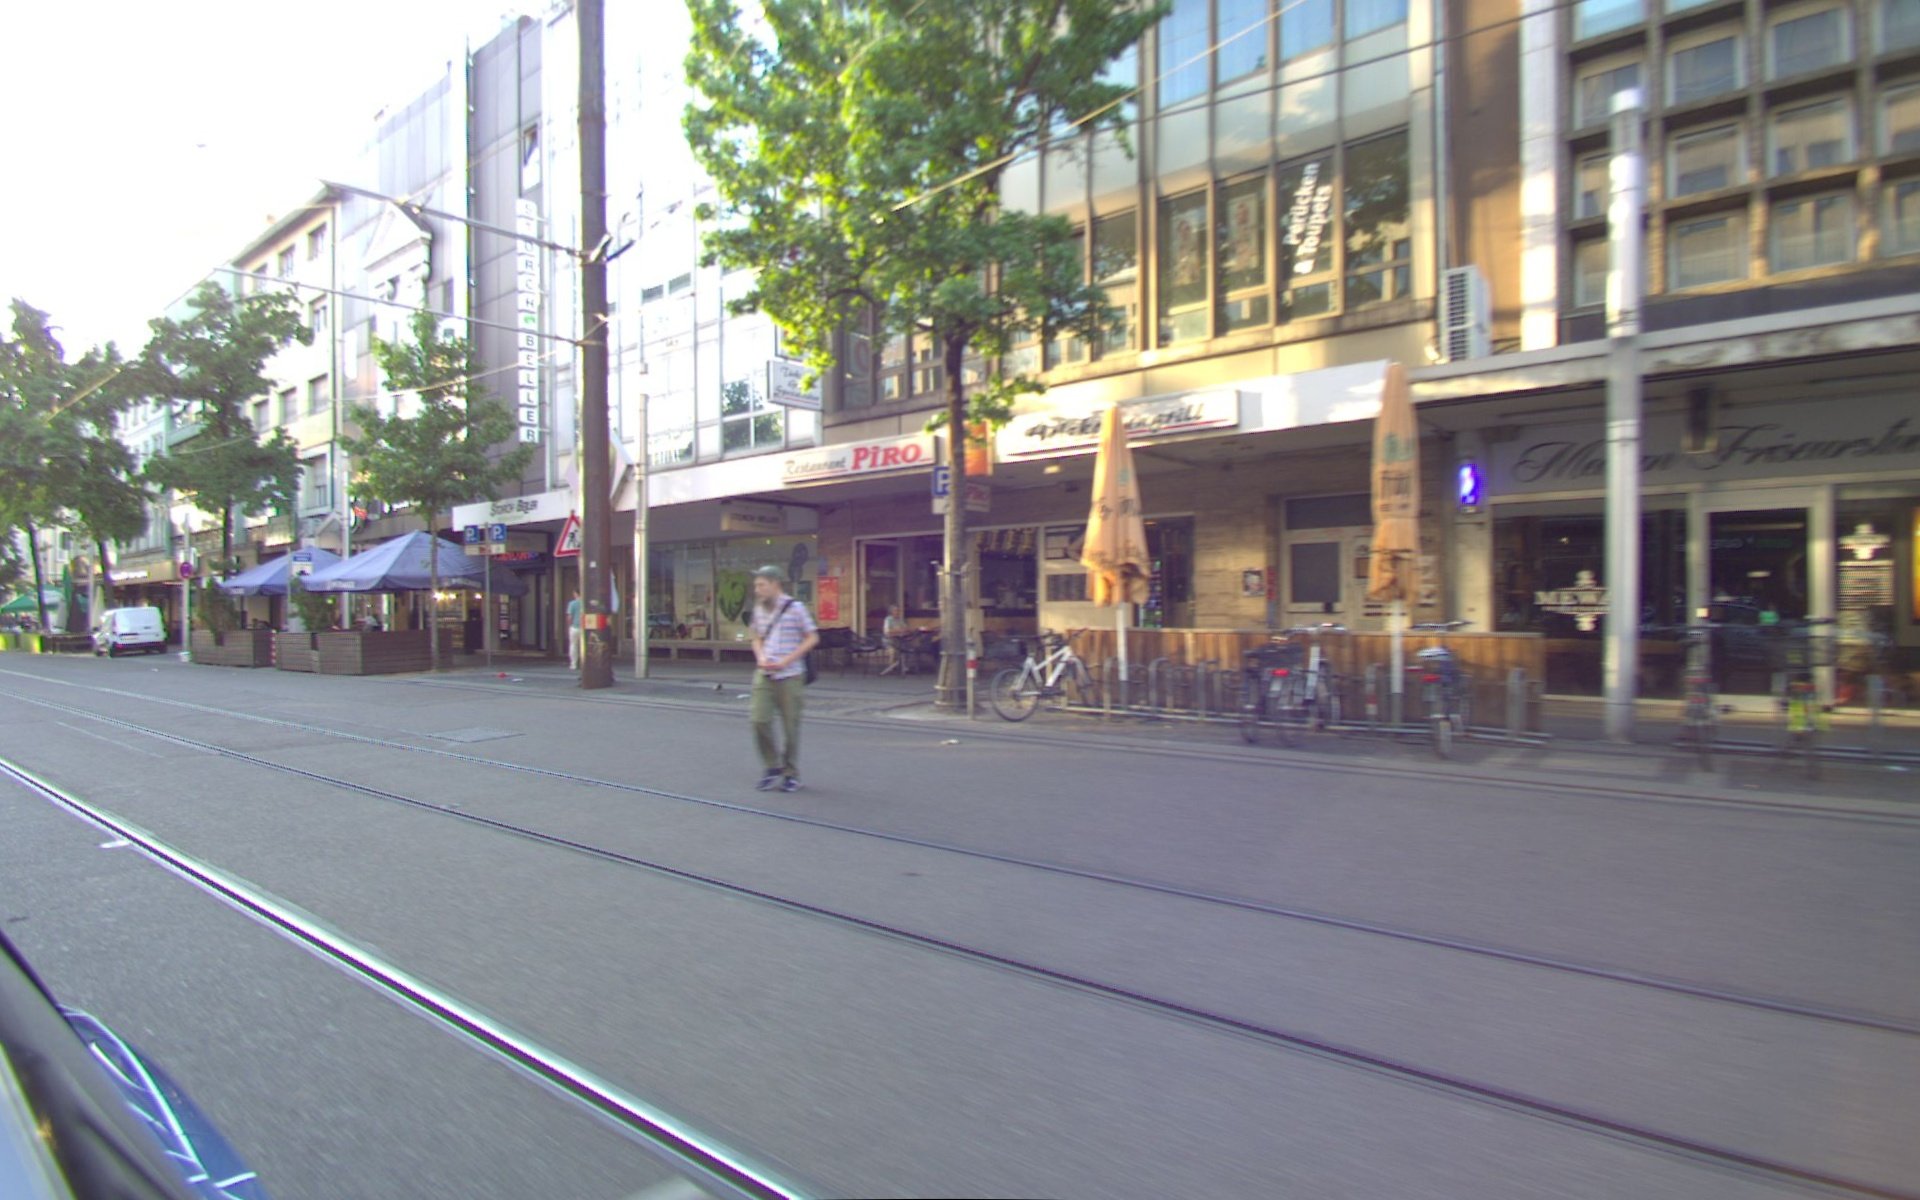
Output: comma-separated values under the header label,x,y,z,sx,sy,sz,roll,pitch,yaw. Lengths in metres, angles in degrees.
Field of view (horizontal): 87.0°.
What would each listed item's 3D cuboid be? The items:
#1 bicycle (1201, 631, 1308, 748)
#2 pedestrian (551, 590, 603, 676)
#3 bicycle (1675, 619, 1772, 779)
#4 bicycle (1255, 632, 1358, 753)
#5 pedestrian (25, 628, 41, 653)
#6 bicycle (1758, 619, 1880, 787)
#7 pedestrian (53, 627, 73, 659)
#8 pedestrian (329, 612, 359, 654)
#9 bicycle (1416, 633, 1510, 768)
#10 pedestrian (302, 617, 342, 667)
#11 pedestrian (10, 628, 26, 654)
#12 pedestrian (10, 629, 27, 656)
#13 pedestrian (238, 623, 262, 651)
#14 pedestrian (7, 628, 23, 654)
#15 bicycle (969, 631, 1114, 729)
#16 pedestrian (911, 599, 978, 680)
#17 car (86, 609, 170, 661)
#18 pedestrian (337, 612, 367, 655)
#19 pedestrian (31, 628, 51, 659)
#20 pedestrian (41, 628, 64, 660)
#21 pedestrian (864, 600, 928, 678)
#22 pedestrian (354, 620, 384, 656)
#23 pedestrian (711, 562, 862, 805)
label,x,y,z,sx,sy,sz,roll,pitch,yaw
bicycle,3.007,0.864,10.229,0.488,0.997,1.757,-3,0,34
pedestrian,-8.385,0.701,22.146,0.676,1.806,0.991,-3,2,-44
bicycle,6.122,0.735,8.166,0.488,1.079,1.757,-2,0,34
bicycle,3.417,0.857,9.897,0.488,0.997,1.757,-3,0,34
pedestrian,-50.924,2.221,55.583,0.640,1.396,0.651,0,-2,-43
bicycle,6.577,0.728,7.810,0.488,1.079,1.757,-2,0,34
pedestrian,-43.200,2.063,48.755,0.639,1.471,0.652,0,-1,-33
pedestrian,-22.046,1.175,36.215,0.642,1.444,0.654,0,4,40
bicycle,4.494,0.840,8.985,0.488,0.997,1.757,-3,0,34
pedestrian,-18.909,1.234,29.991,0.746,1.411,0.757,-1,2,39
pedestrian,-51.318,2.227,55.149,0.640,1.396,0.651,0,-2,-43
pedestrian,-48.631,2.185,52.294,0.640,1.396,0.651,0,-2,-43
pedestrian,-30.509,1.591,43.487,0.648,1.184,0.642,-1,0,35
pedestrian,-52.266,2.242,55.949,0.640,1.396,0.651,0,-2,-43
bicycle,0.977,0.908,11.855,1.748,0.973,0.491,-2,1,-34
pedestrian,-0.273,0.669,17.580,0.911,1.335,0.664,-1,1,38
car,-32.696,1.371,39.731,4.328,1.835,1.807,-2,2,42
pedestrian,-21.489,1.166,35.761,0.642,1.444,0.654,0,4,40
pedestrian,-43.818,2.072,48.248,0.650,1.471,0.641,-2,-1,40
pedestrian,-42.919,2.058,47.862,0.639,1.471,0.652,0,-1,-20
pedestrian,-1.154,0.684,18.241,0.911,1.335,0.664,-1,1,38
pedestrian,-20.196,1.302,34.594,0.664,1.165,0.635,-1,2,38
pedestrian,-1.354,0.621,8.079,0.814,1.806,0.986,-2,1,13
